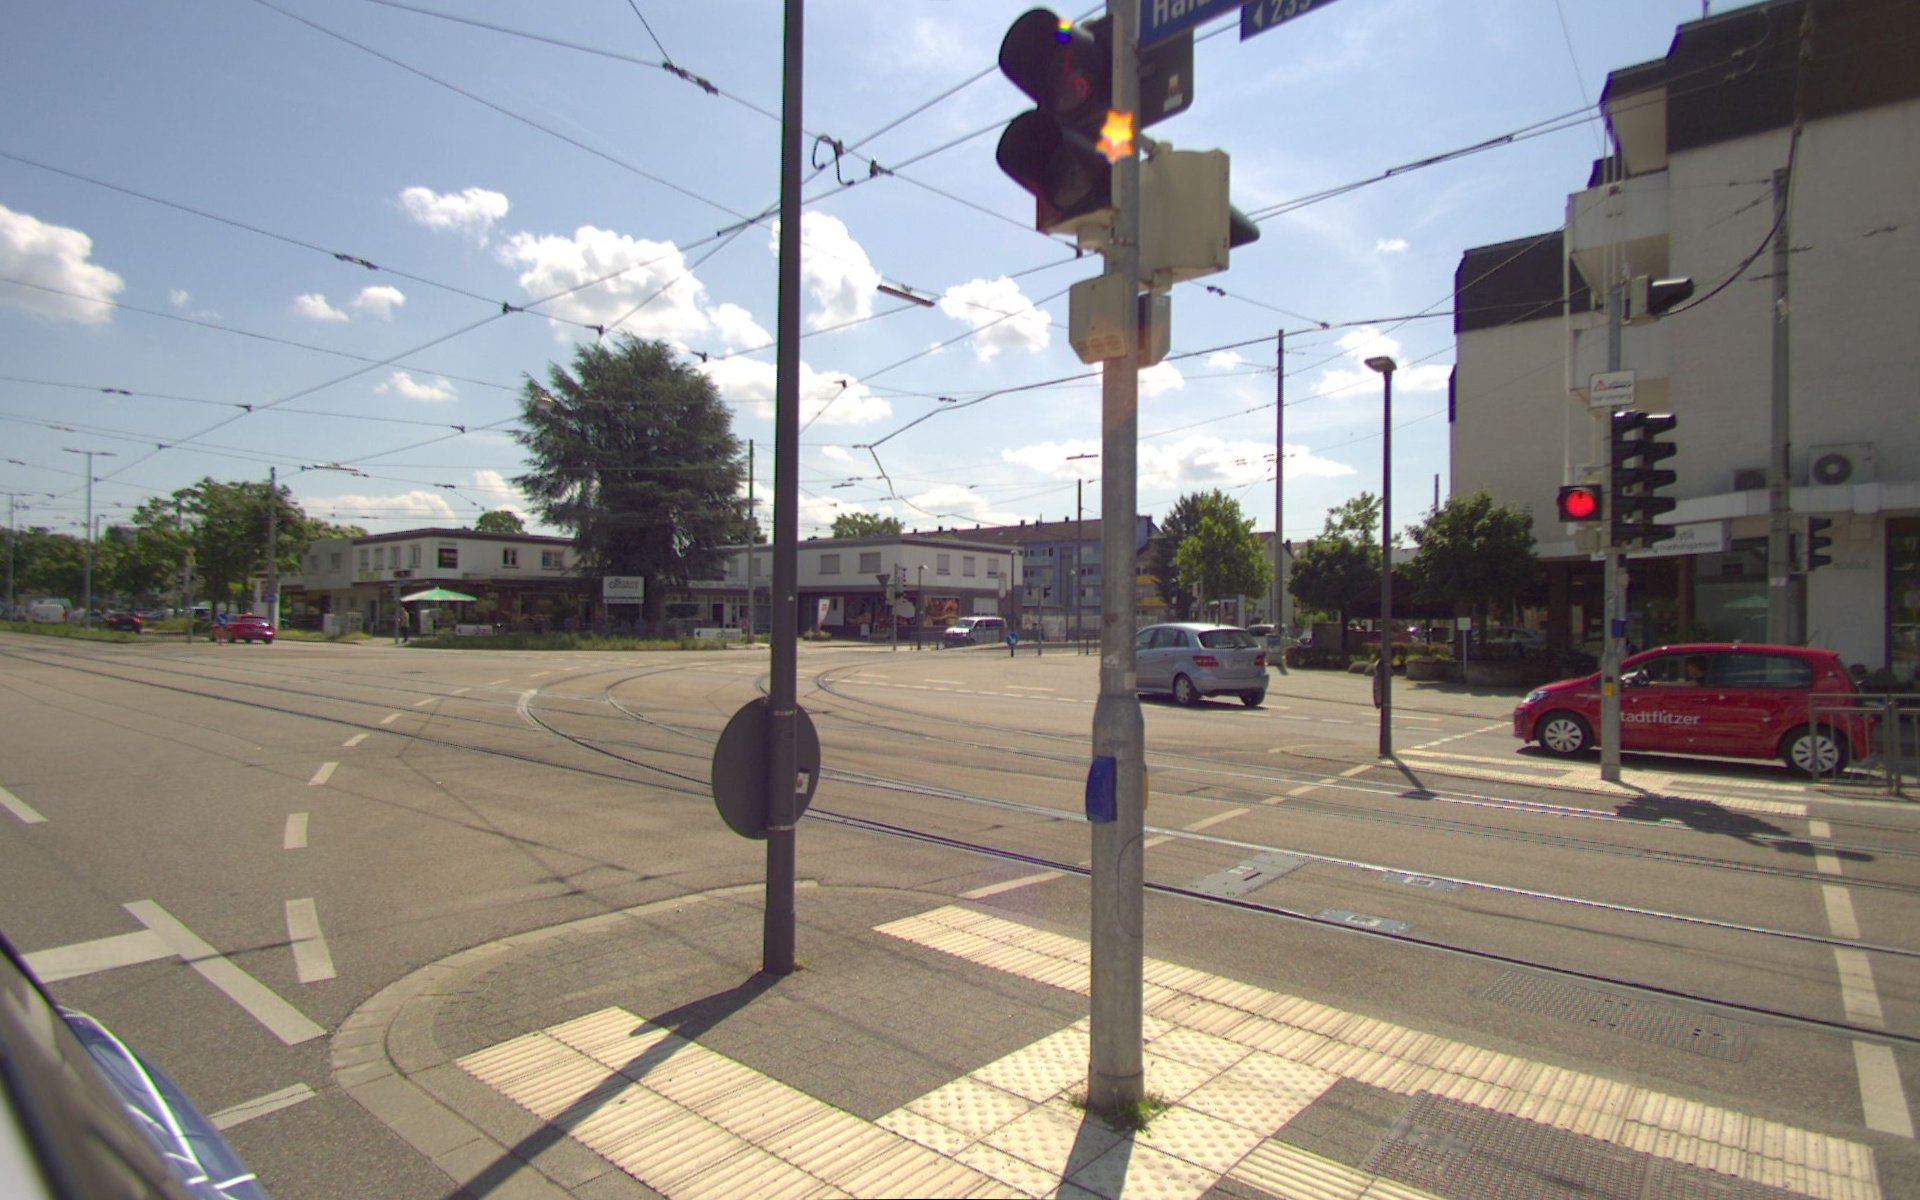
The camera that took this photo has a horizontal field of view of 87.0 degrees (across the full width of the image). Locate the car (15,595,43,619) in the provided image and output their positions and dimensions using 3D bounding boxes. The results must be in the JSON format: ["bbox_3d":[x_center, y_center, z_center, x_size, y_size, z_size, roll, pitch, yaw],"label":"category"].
[{"bbox_3d":[-104.081,0.749,113.152,3.996,2.608,1.723,0,-2,39],"label":"car"}]

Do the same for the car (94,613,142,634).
[{"bbox_3d":[-56.872,1.599,68.338,3.996,1.364,1.762,0,-2,39],"label":"car"}]

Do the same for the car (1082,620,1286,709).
[{"bbox_3d":[4.452,1.238,20.906,1.710,1.628,4.620,1,-2,-23],"label":"car"}]

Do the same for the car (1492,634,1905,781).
[{"bbox_3d":[8.787,1.171,12.312,3.851,1.456,1.638,-1,-2,41],"label":"car"}]

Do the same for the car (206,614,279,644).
[{"bbox_3d":[-36.911,1.481,52.050,4.819,1.461,1.973,-1,-2,41],"label":"car"}]

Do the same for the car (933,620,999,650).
[{"bbox_3d":[0.402,2.129,61.298,1.998,1.741,3.947,-1,-2,39],"label":"car"}]

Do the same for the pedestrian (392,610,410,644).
[{"bbox_3d":[-30.392,1.445,54.995,0.679,1.788,0.485,0,3,21],"label":"pedestrian"}]

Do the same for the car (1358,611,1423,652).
[{"bbox_3d":[25.889,1.887,60.754,2.214,2.356,5.150,-1,-2,39],"label":"car"}]

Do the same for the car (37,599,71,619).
[{"bbox_3d":[-92.895,0.930,103.798,3.996,1.980,1.942,0,-2,39],"label":"car"}]

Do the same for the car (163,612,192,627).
[{"bbox_3d":[-88.737,2.191,114.735,3.996,1.706,1.723,0,-2,39],"label":"car"}]

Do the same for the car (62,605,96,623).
[{"bbox_3d":[-83.332,1.315,95.750,3.996,1.608,1.723,0,-2,39],"label":"car"}]

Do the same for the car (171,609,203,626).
[{"bbox_3d":[-79.727,1.833,104.384,3.996,1.706,1.723,0,-2,39],"label":"car"}]

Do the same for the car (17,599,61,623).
[{"bbox_3d":[-75.630,0.928,83.104,4.547,1.890,1.841,0,-2,37],"label":"car"}]

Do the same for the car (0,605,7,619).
[{"bbox_3d":[-121.270,1.501,127.137,3.996,1.706,1.723,0,-2,39],"label":"car"}]

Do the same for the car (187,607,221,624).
[{"bbox_3d":[-75.625,1.565,101.214,3.996,1.706,1.723,0,-2,39],"label":"car"}]

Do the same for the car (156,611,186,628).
[{"bbox_3d":[-85.791,2.106,109.998,3.996,1.706,1.723,0,-2,39],"label":"car"}]

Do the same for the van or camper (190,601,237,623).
[{"bbox_3d":[-109.988,1.840,149.206,2.245,3.141,5.093,0,-2,39],"label":"van or camper"}]
